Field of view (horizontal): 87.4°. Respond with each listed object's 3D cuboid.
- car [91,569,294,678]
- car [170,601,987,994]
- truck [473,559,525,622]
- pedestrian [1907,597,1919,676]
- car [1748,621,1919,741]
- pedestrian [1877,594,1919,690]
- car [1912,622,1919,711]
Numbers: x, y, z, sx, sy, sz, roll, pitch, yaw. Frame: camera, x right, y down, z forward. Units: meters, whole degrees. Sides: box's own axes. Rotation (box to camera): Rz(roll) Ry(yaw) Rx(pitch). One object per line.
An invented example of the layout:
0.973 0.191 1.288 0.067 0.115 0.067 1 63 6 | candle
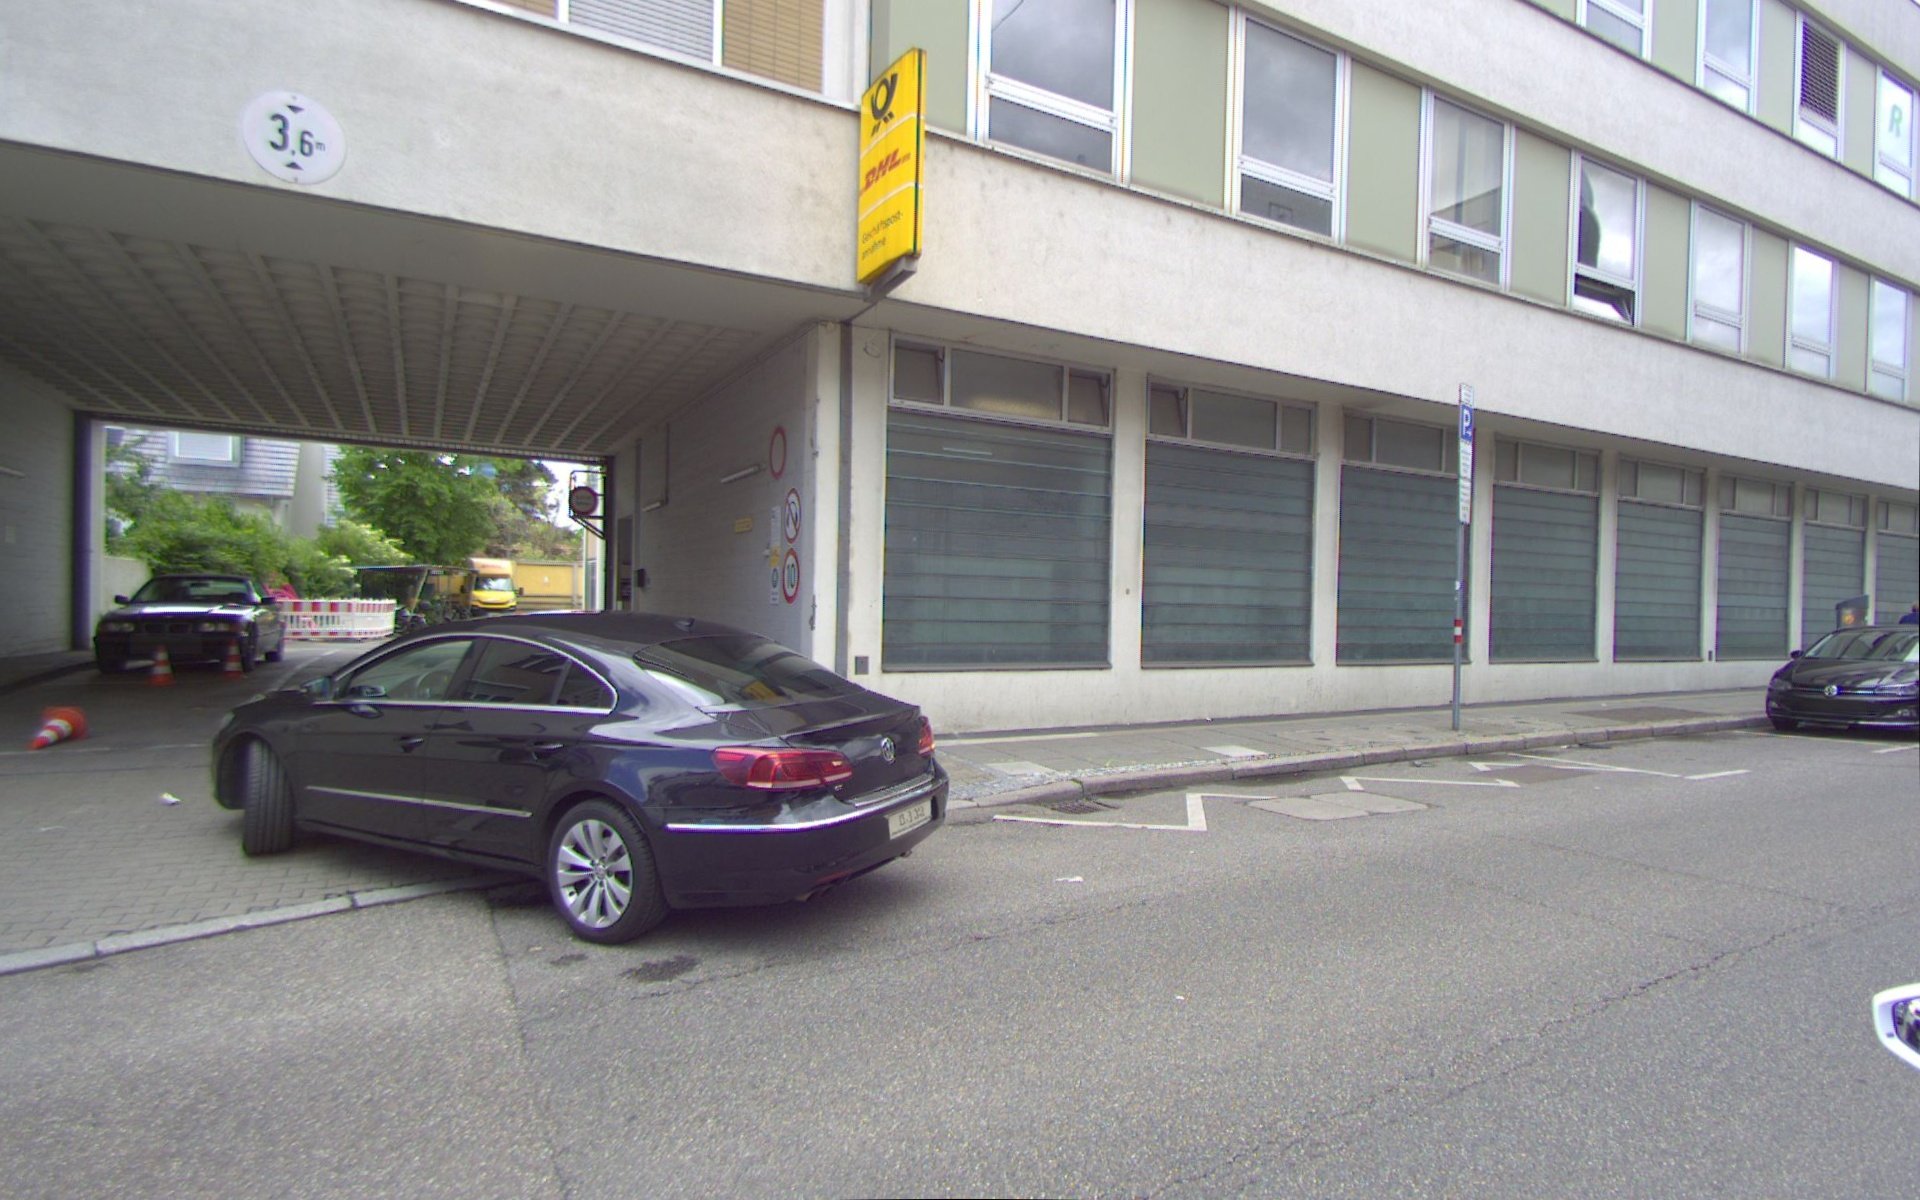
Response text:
-10.966 0.274 14.659 1.604 1.341 4.421 1 0 -28 | car
-2.193 0.768 5.558 4.370 1.417 1.656 1 0 25 | car
-22.106 -0.500 48.414 1.971 2.789 7.255 1 1 -23 | truck
21.532 0.805 22.293 0.642 1.741 0.586 1 0 -30 | pedestrian
12.718 1.017 13.826 3.826 1.444 1.708 1 -1 -31 | car
17.746 0.771 18.798 1.043 1.741 0.586 1 0 -31 | pedestrian
17.773 1.083 16.497 4.209 1.444 1.809 1 -1 -27 | car
